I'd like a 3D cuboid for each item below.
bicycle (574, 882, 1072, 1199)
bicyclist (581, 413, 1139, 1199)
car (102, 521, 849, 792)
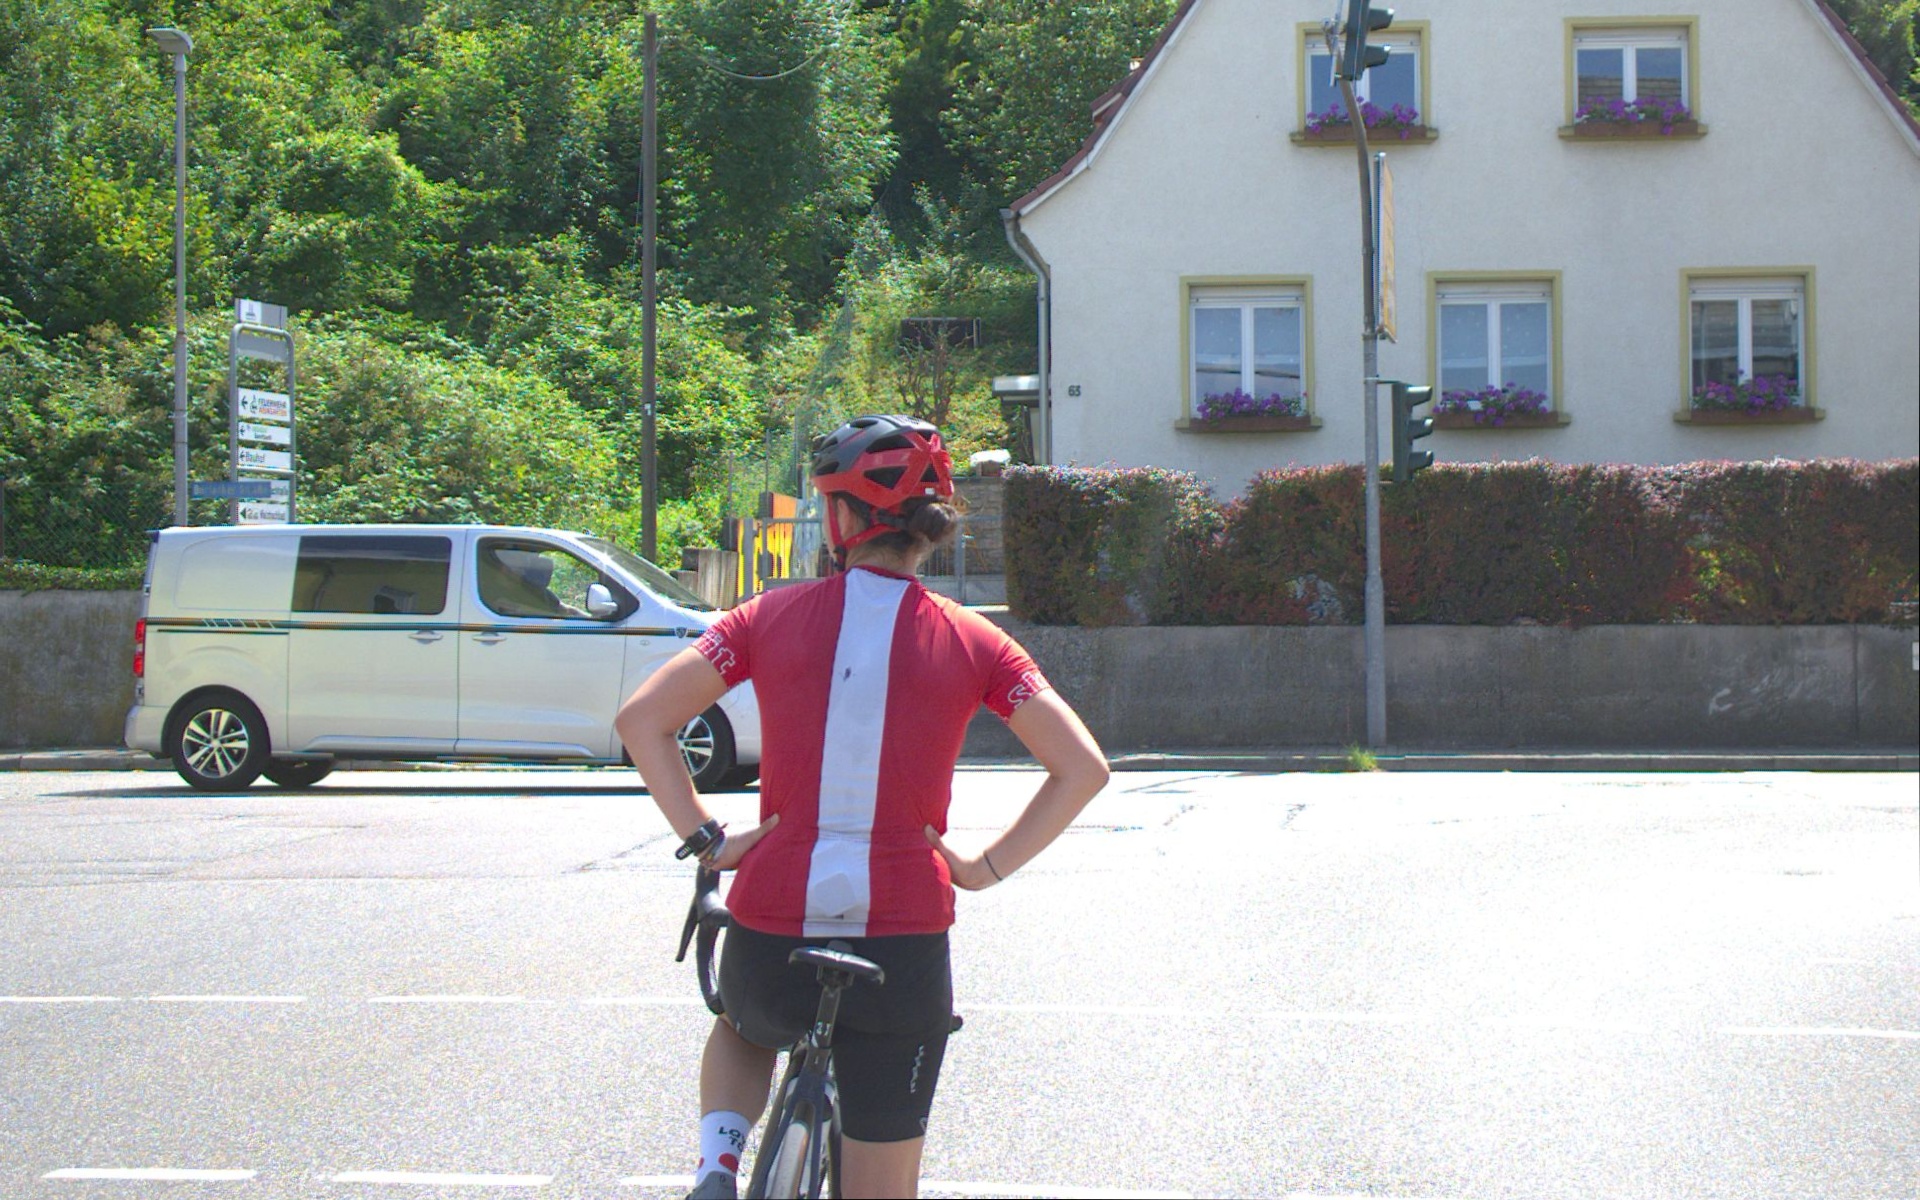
[{"bbox_3d":[-0.244,0.960,5.201,0.629,0.902,1.657,1,1,-5],"label":"bicycle"},{"bbox_3d":[-0.177,0.571,5.242,0.760,1.659,0.869,1,1,-5],"label":"bicyclist"},{"bbox_3d":[-3.364,0.401,24.392,4.875,1.816,1.999,0,-2,8],"label":"car"}]
